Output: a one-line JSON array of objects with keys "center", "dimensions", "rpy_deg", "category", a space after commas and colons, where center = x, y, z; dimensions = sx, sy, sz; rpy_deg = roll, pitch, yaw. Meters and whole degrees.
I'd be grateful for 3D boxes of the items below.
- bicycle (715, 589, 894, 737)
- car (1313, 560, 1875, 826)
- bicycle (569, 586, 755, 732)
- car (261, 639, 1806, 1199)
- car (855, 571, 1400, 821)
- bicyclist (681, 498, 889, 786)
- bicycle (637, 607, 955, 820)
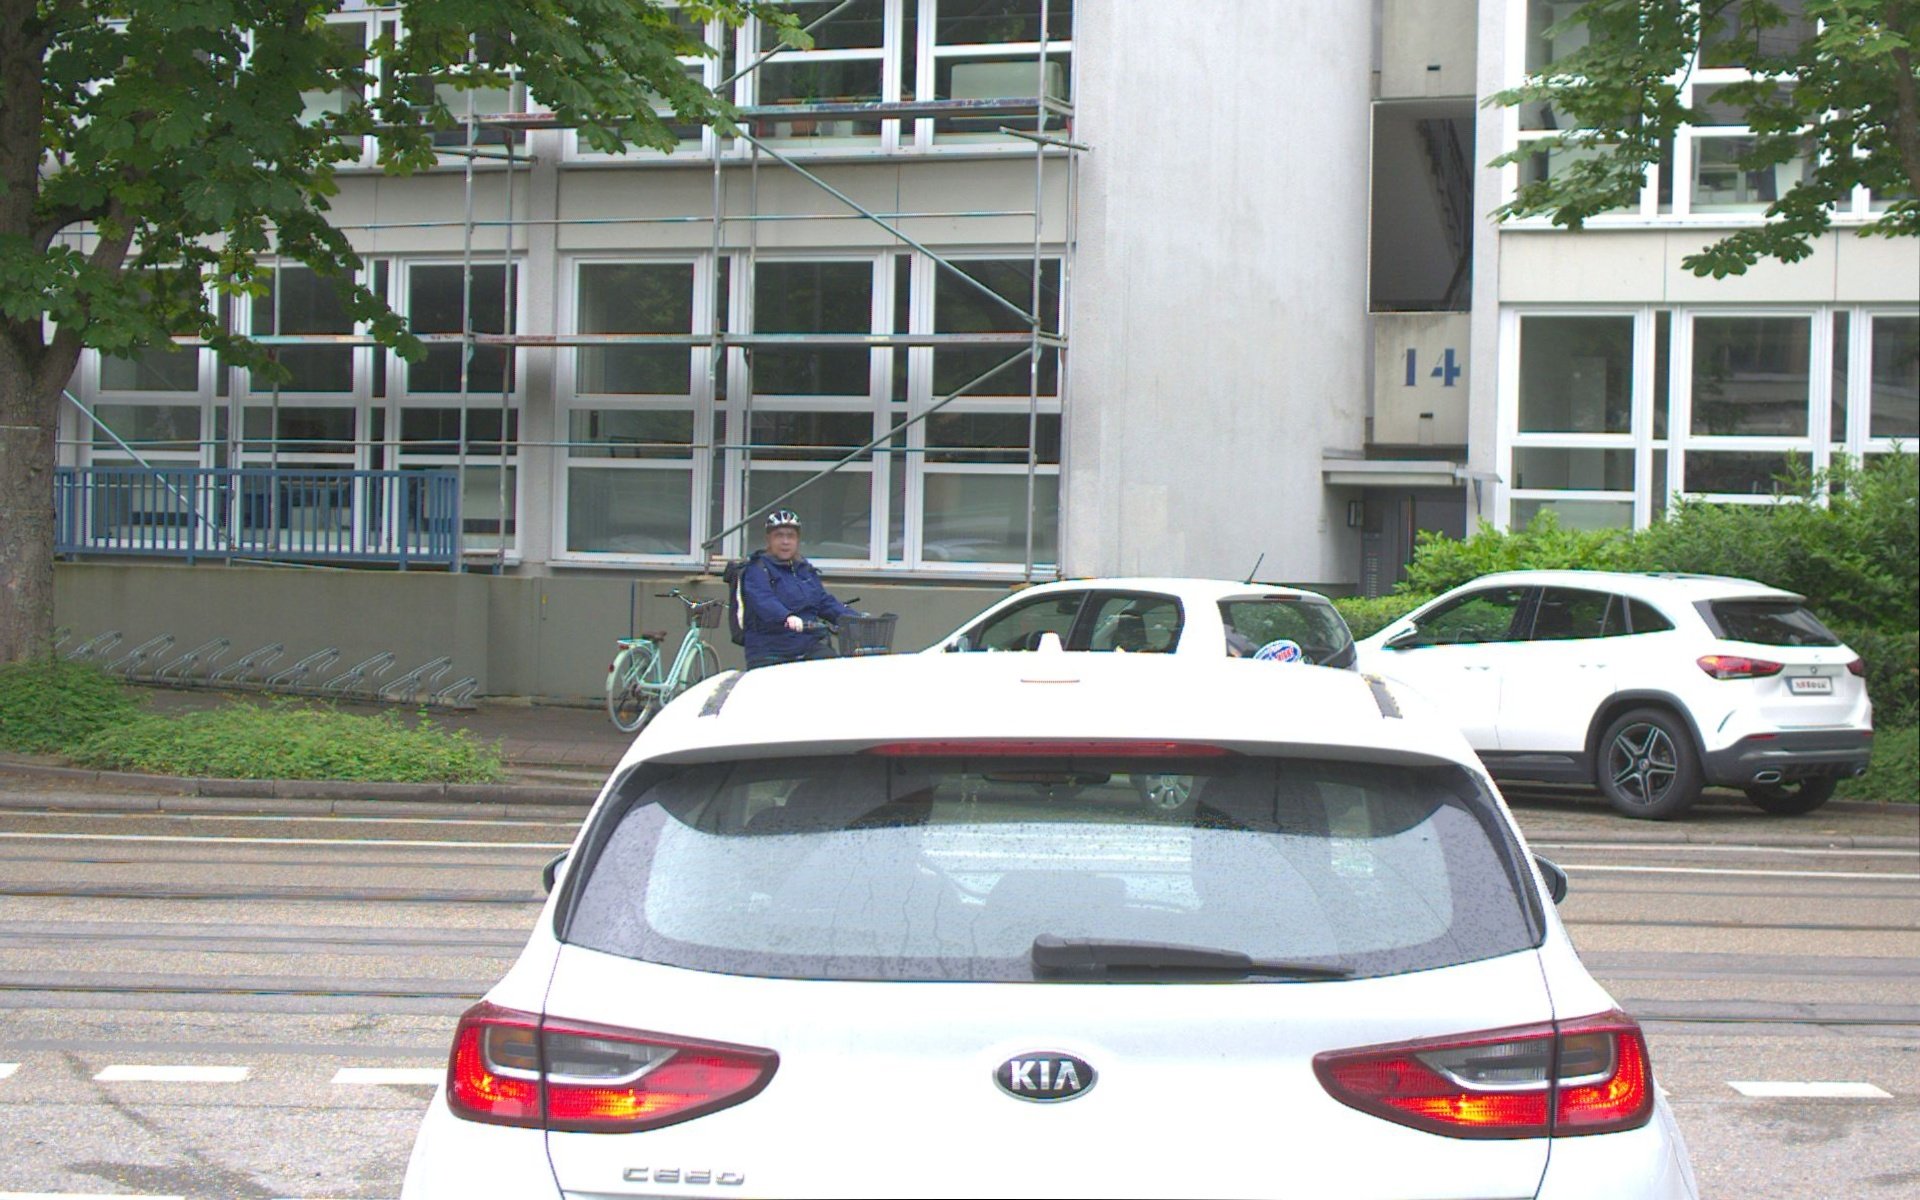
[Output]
[{"center": [-1.264, 0.497, 28.472], "dimensions": [0.645, 1.071, 2.310], "rpy_deg": [2, 3, 20], "category": "bicycle"}, {"center": [4.179, 0.564, 22.965], "dimensions": [1.552, 1.612, 3.406], "rpy_deg": [0, 1, -44], "category": "car"}, {"center": [-2.489, 0.474, 28.985], "dimensions": [0.645, 1.071, 2.310], "rpy_deg": [2, 3, 20], "category": "bicycle"}, {"center": [0.162, 0.797, 5.947], "dimensions": [1.775, 1.428, 3.978], "rpy_deg": [1, -1, 3], "category": "car"}, {"center": [1.044, 0.569, 22.490], "dimensions": [1.552, 1.468, 3.406], "rpy_deg": [0, 1, -44], "category": "car"}, {"center": [-1.066, 0.242, 20.886], "dimensions": [0.896, 1.692, 0.832], "rpy_deg": [2, 1, 45], "category": "bicyclist"}, {"center": [-1.011, 0.659, 20.821], "dimensions": [1.914, 1.170, 0.819], "rpy_deg": [2, 1, 44], "category": "bicycle"}]
